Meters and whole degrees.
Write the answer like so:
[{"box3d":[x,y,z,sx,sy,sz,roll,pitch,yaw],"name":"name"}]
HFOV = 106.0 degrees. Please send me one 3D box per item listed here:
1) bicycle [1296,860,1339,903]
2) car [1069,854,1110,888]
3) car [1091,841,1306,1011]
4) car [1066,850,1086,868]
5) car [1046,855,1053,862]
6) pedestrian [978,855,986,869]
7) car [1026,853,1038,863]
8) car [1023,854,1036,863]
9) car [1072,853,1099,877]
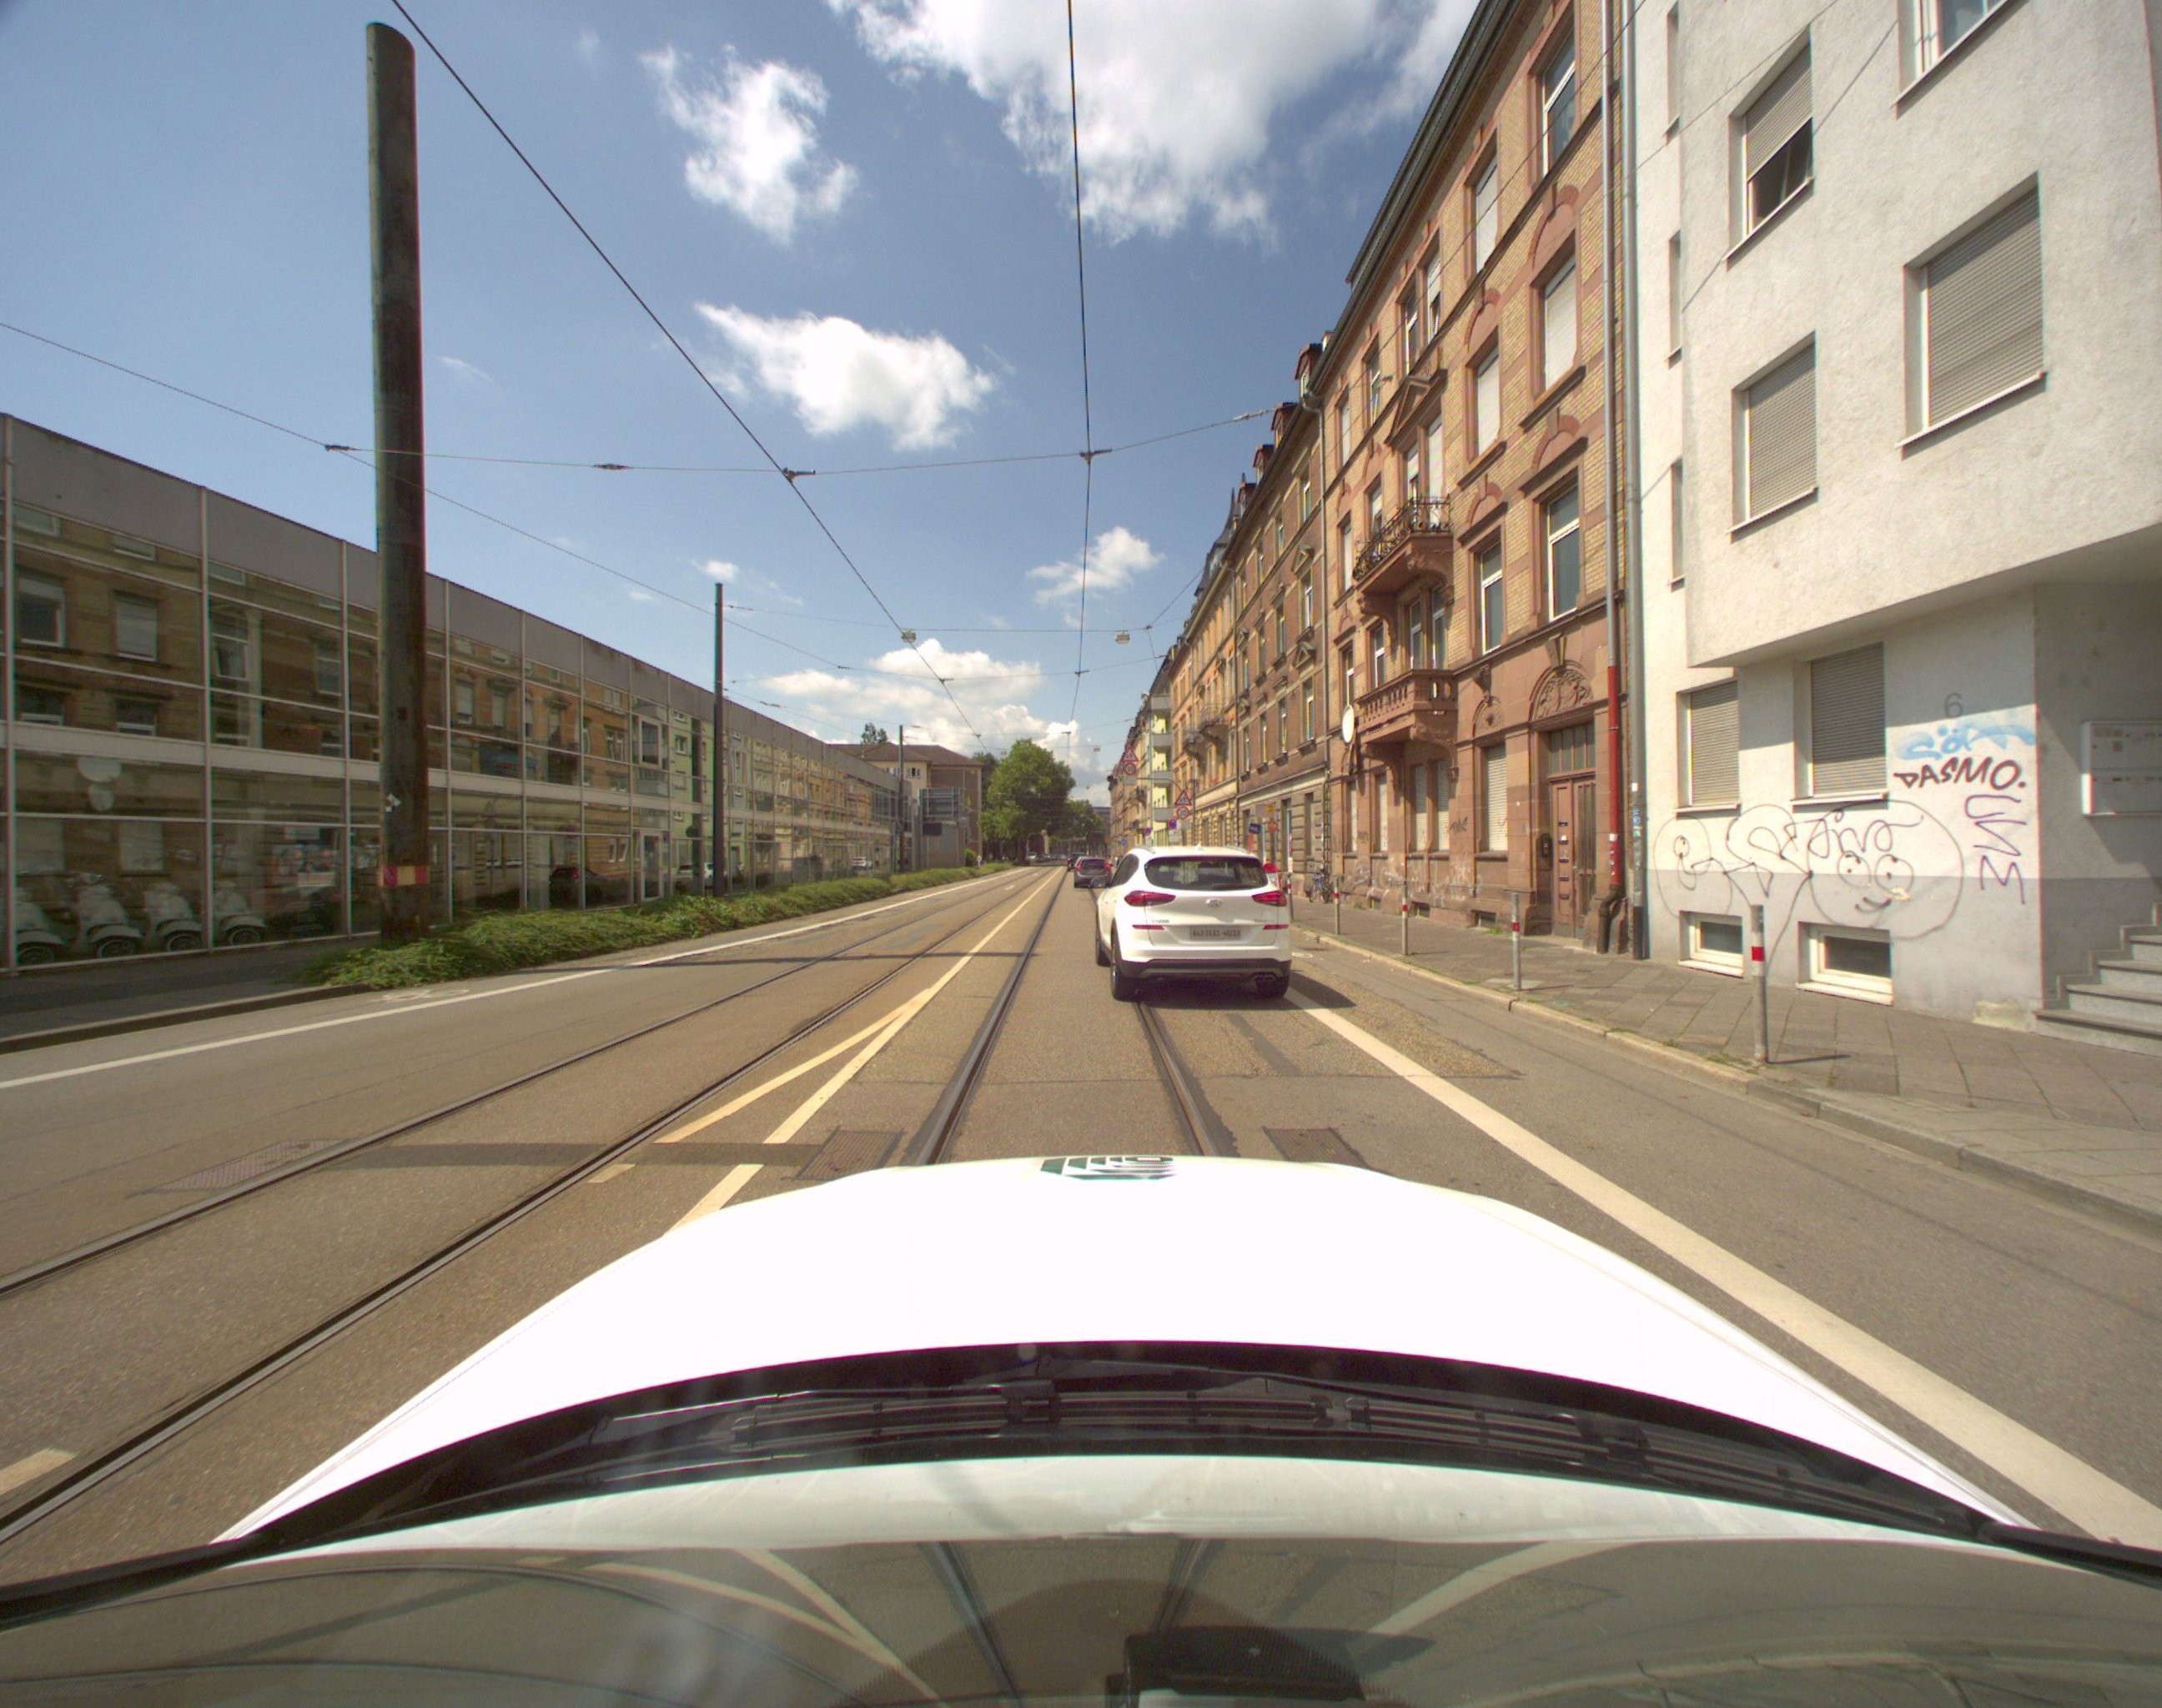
[{"box3d":[6.861,0.770,23.720,0.584,1.178,2.205,-1,0,1],"name":"bicycle"},{"box3d":[0.462,0.797,39.289,1.807,1.524,4.088,-1,0,3],"name":"car"},{"box3d":[1.172,0.700,9.982,1.848,1.634,4.176,1,0,-3],"name":"car"},{"box3d":[-0.477,0.444,75.882,1.809,1.661,4.084,-1,0,-1],"name":"car"},{"box3d":[-8.175,1.154,212.268,1.945,1.632,3.996,0,0,-3],"name":"car"},{"box3d":[-12.668,1.026,104.203,0.877,1.865,1.081,-2,0,0],"name":"pedestrian"},{"box3d":[-8.870,0.716,148.184,1.944,1.895,4.564,0,0,-1],"name":"car"},{"box3d":[-8.936,0.754,142.356,1.944,1.632,4.574,0,0,-1],"name":"car"},{"box3d":[0.298,0.741,56.461,1.809,1.524,3.954,-1,0,0],"name":"car"}]
